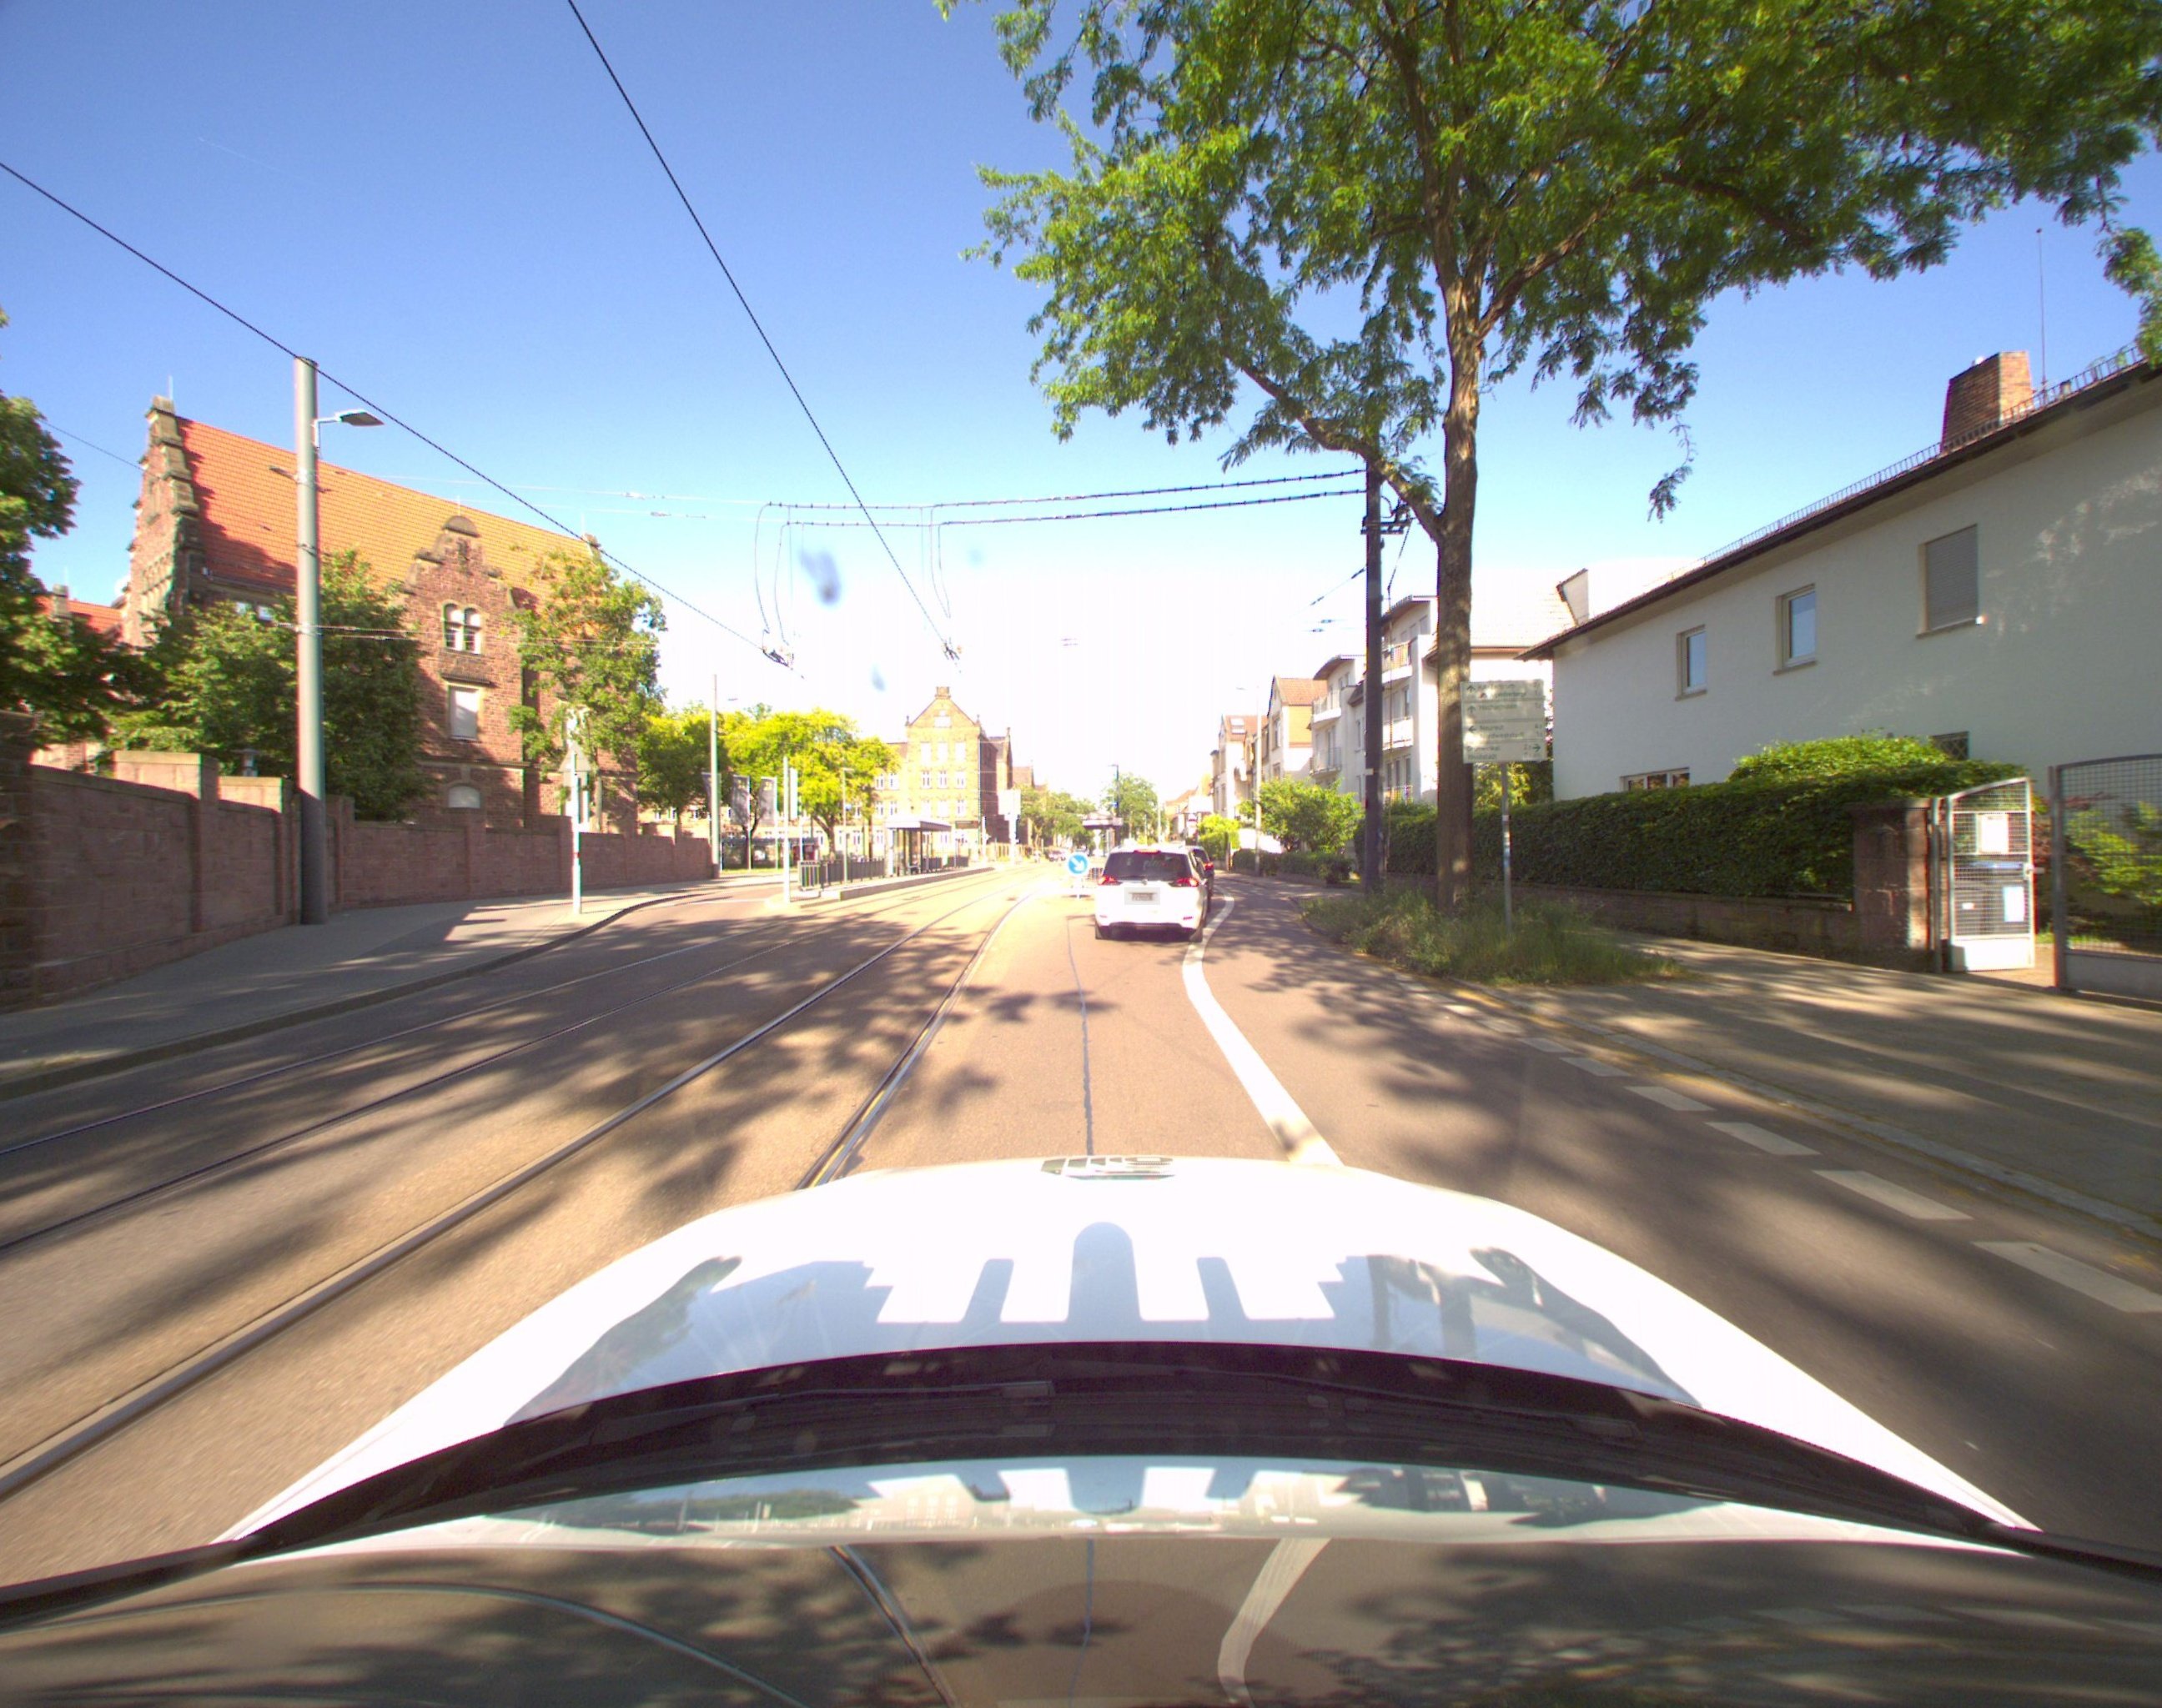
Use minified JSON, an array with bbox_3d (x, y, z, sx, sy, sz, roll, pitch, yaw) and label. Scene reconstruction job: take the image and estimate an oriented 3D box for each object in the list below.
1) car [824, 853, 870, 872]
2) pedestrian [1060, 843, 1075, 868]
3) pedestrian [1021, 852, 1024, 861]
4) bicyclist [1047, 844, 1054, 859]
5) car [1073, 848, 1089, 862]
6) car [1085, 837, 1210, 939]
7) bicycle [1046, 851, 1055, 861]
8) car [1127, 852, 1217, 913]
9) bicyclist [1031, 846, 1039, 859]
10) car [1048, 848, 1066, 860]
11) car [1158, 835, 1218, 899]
[{"bbox_3d":[-22.773,0.771,79.342,3.977,1.790,1.998,-1,0,-3],"label":"car"},{"bbox_3d":[-1.168,0.126,68.665,1.151,2.013,1.120,-2,1,1],"label":"pedestrian"},{"bbox_3d":[-9.198,0.395,128.777,0.360,1.437,0.550,-1,0,4],"label":"pedestrian"},{"bbox_3d":[-4.246,-0.343,113.507,0.948,2.013,0.823,-1,0,-2],"label":"bicyclist"},{"bbox_3d":[-0.023,0.100,115.007,1.985,1.913,4.003,-1,0,3],"label":"car"},{"bbox_3d":[1.375,0.602,15.039,1.881,1.611,4.240,-1,-2,10],"label":"car"},{"bbox_3d":[-4.269,0.277,113.511,1.144,1.297,2.861,-1,0,1],"label":"bicycle"},{"bbox_3d":[2.520,0.701,21.650,1.980,1.442,4.013,-1,0,11],"label":"car"},{"bbox_3d":[-6.270,-0.176,111.036,0.940,1.734,0.861,-1,0,1],"label":"bicyclist"},{"bbox_3d":[-3.581,-0.067,121.733,1.983,1.722,4.008,-1,0,6],"label":"car"},{"bbox_3d":[3.707,0.411,27.735,1.698,2.013,3.919,-1,0,12],"label":"car"}]
